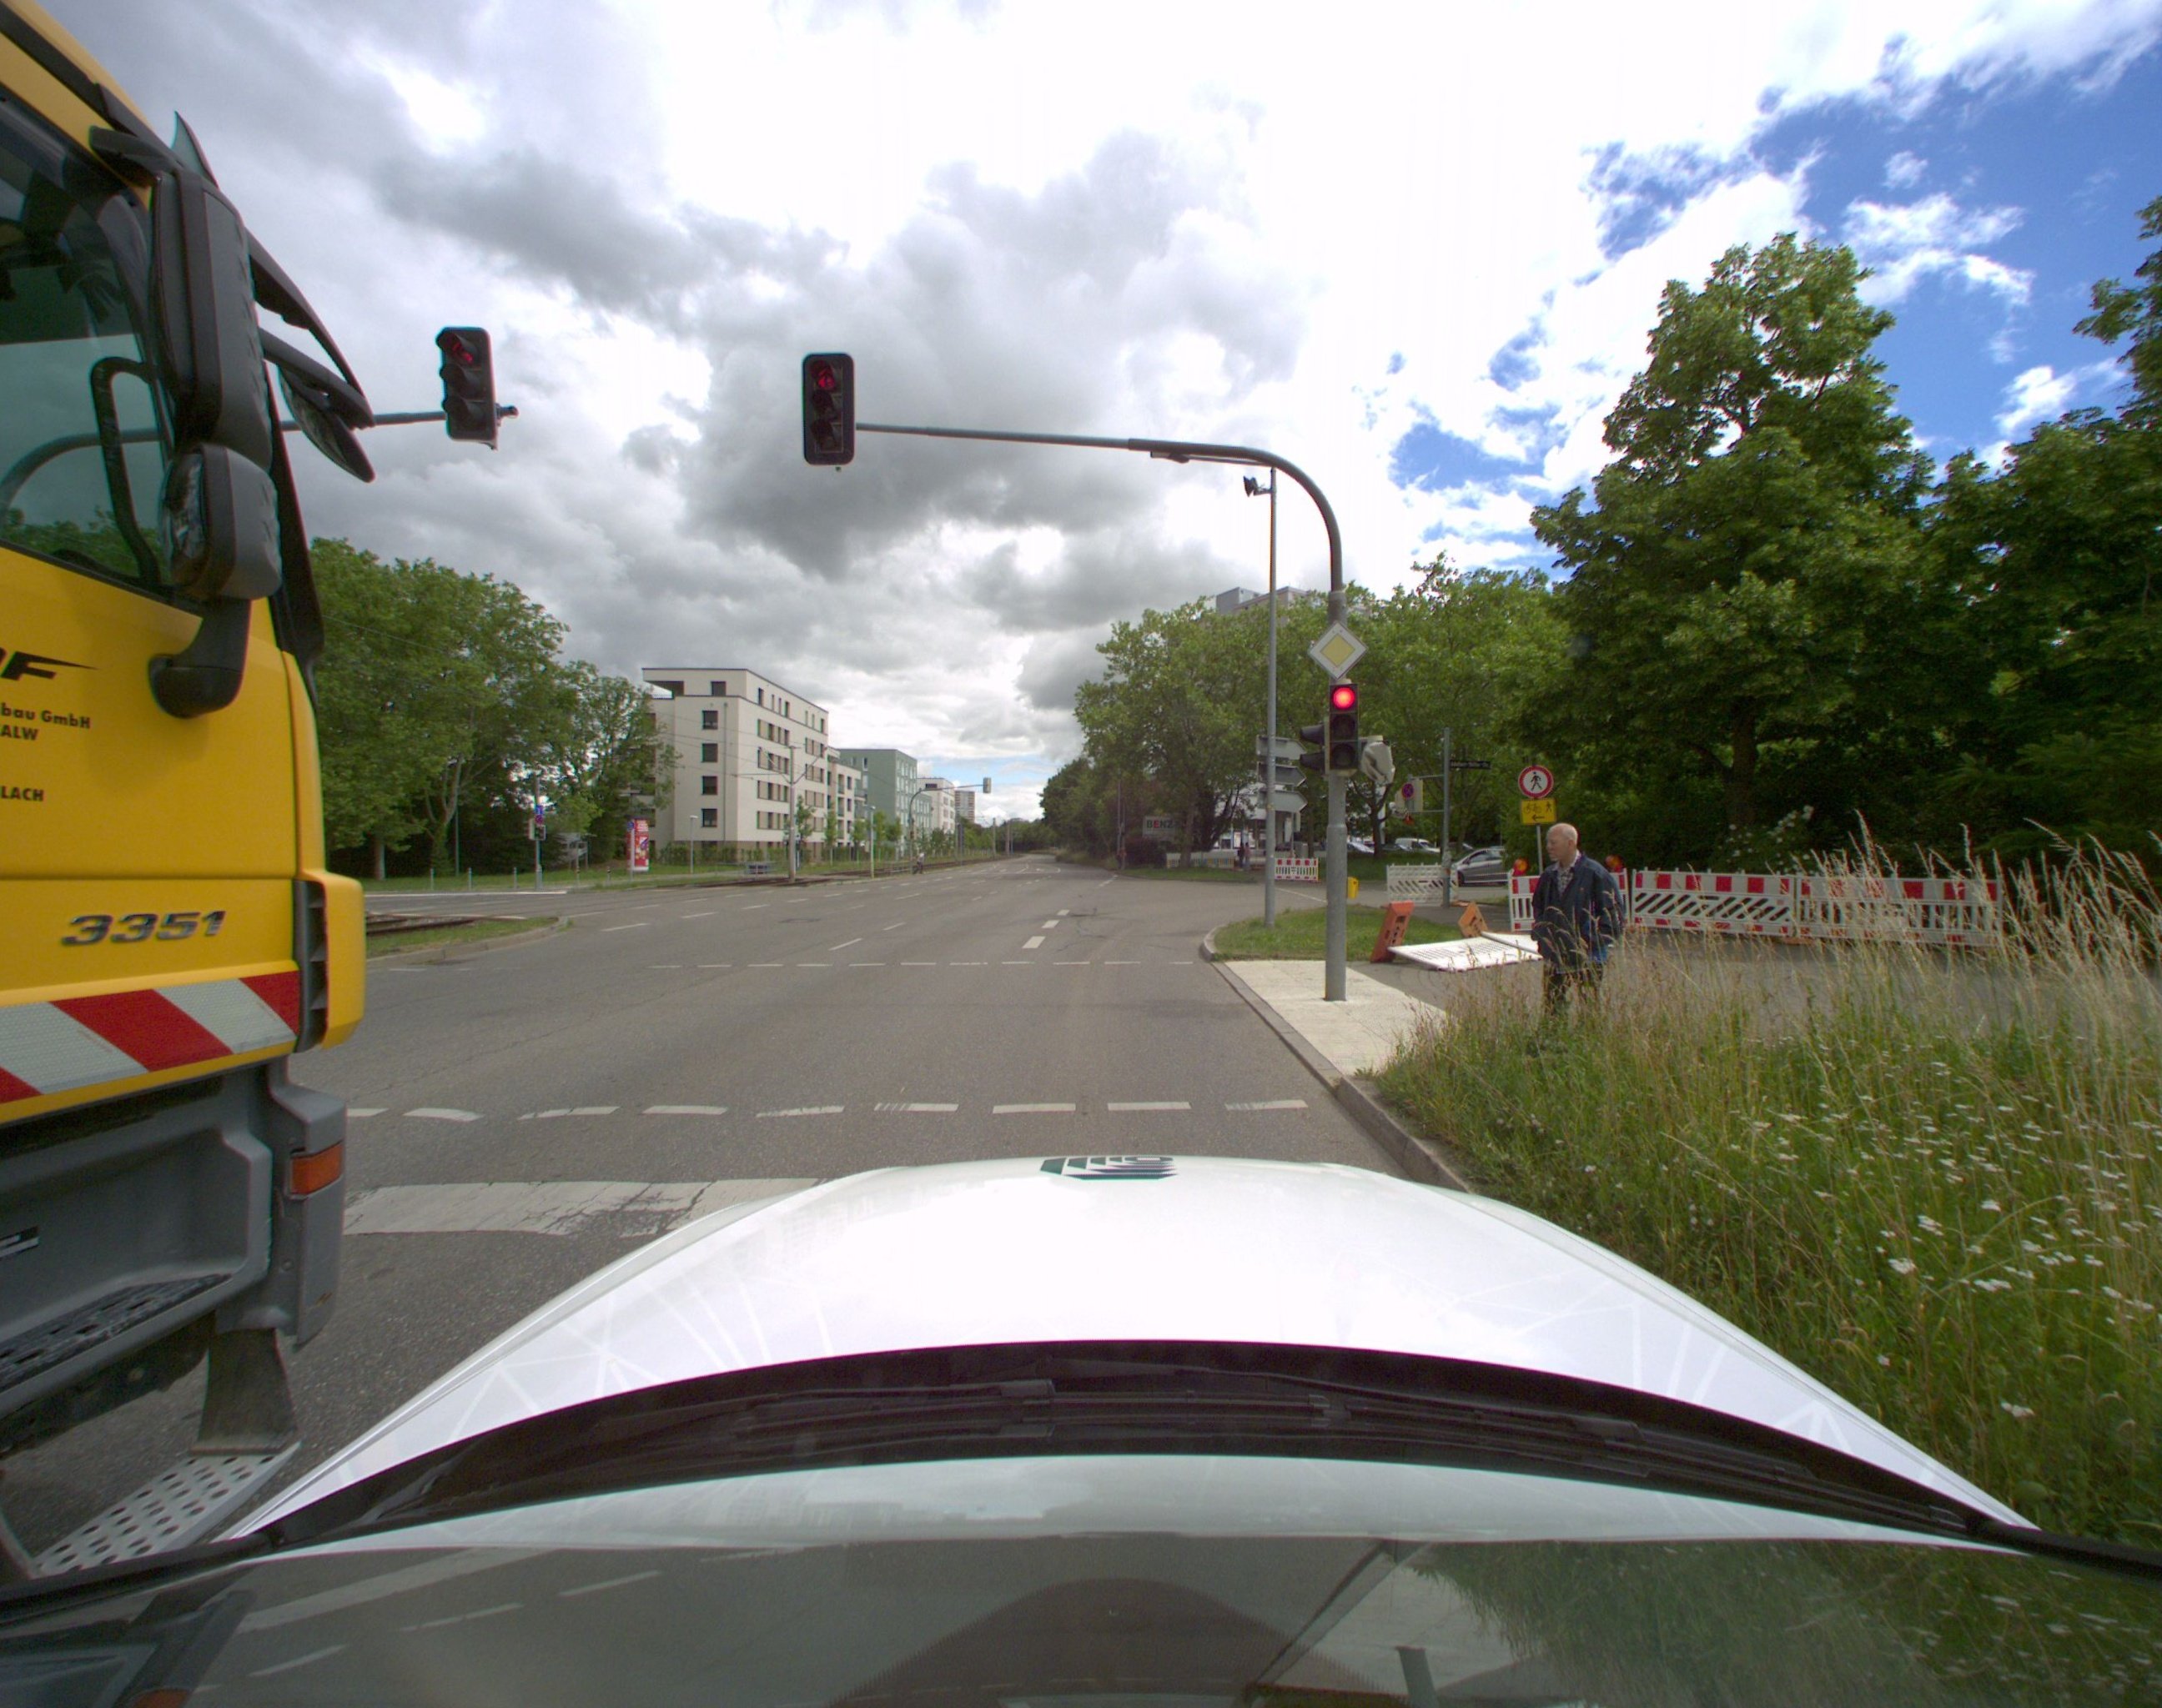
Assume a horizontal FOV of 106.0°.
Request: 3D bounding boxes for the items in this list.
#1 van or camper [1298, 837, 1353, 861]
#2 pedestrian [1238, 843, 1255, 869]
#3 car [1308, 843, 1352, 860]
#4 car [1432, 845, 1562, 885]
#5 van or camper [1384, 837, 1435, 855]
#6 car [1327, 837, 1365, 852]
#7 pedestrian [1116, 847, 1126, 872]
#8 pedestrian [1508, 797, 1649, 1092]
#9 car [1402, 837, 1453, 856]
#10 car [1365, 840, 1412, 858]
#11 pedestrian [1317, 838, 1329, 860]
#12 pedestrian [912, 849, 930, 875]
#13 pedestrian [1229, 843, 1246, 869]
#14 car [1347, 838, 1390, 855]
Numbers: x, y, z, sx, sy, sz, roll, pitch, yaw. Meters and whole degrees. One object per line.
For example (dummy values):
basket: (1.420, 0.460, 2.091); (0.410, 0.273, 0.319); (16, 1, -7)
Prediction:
van or camper: (18.480, -0.384, 61.733); (1.849, 1.684, 3.967); (-1, 0, -25)
pedestrian: (9.631, 0.093, 47.309); (0.688, 1.489, 0.694); (0, -1, -22)
car: (21.418, -0.246, 70.010); (3.404, 1.445, 1.477); (0, -1, -16)
car: (16.971, 0.455, 33.375); (4.379, 1.586, 1.774); (0, -1, 2)
van or camper: (26.978, -0.646, 67.062); (1.523, 1.356, 3.738); (0, -1, -31)
car: (25.315, -0.897, 77.813); (1.489, 1.404, 3.377); (0, -1, -29)
pedestrian: (2.538, 0.344, 52.049); (0.650, 1.539, 0.773); (0, -1, 2)
pedestrian: (3.274, 0.528, 5.389); (0.719, 1.740, 0.962); (-1, 0, 31)
car: (29.022, -0.601, 68.351); (1.489, 1.465, 3.856); (0, -1, -29)
car: (24.321, -0.378, 64.530); (1.488, 1.404, 3.378); (0, -1, -27)
pedestrian: (22.264, -0.432, 74.870); (0.802, 2.002, 0.852); (0, -1, -3)
pedestrian: (-10.017, 0.493, 51.012); (0.844, 1.586, 0.798); (0, -1, 7)
pedestrian: (8.991, 0.099, 46.827); (0.720, 1.489, 0.695); (0, -1, -19)
car: (28.025, -0.770, 79.407); (1.677, 1.634, 3.787); (0, 1, -28)
